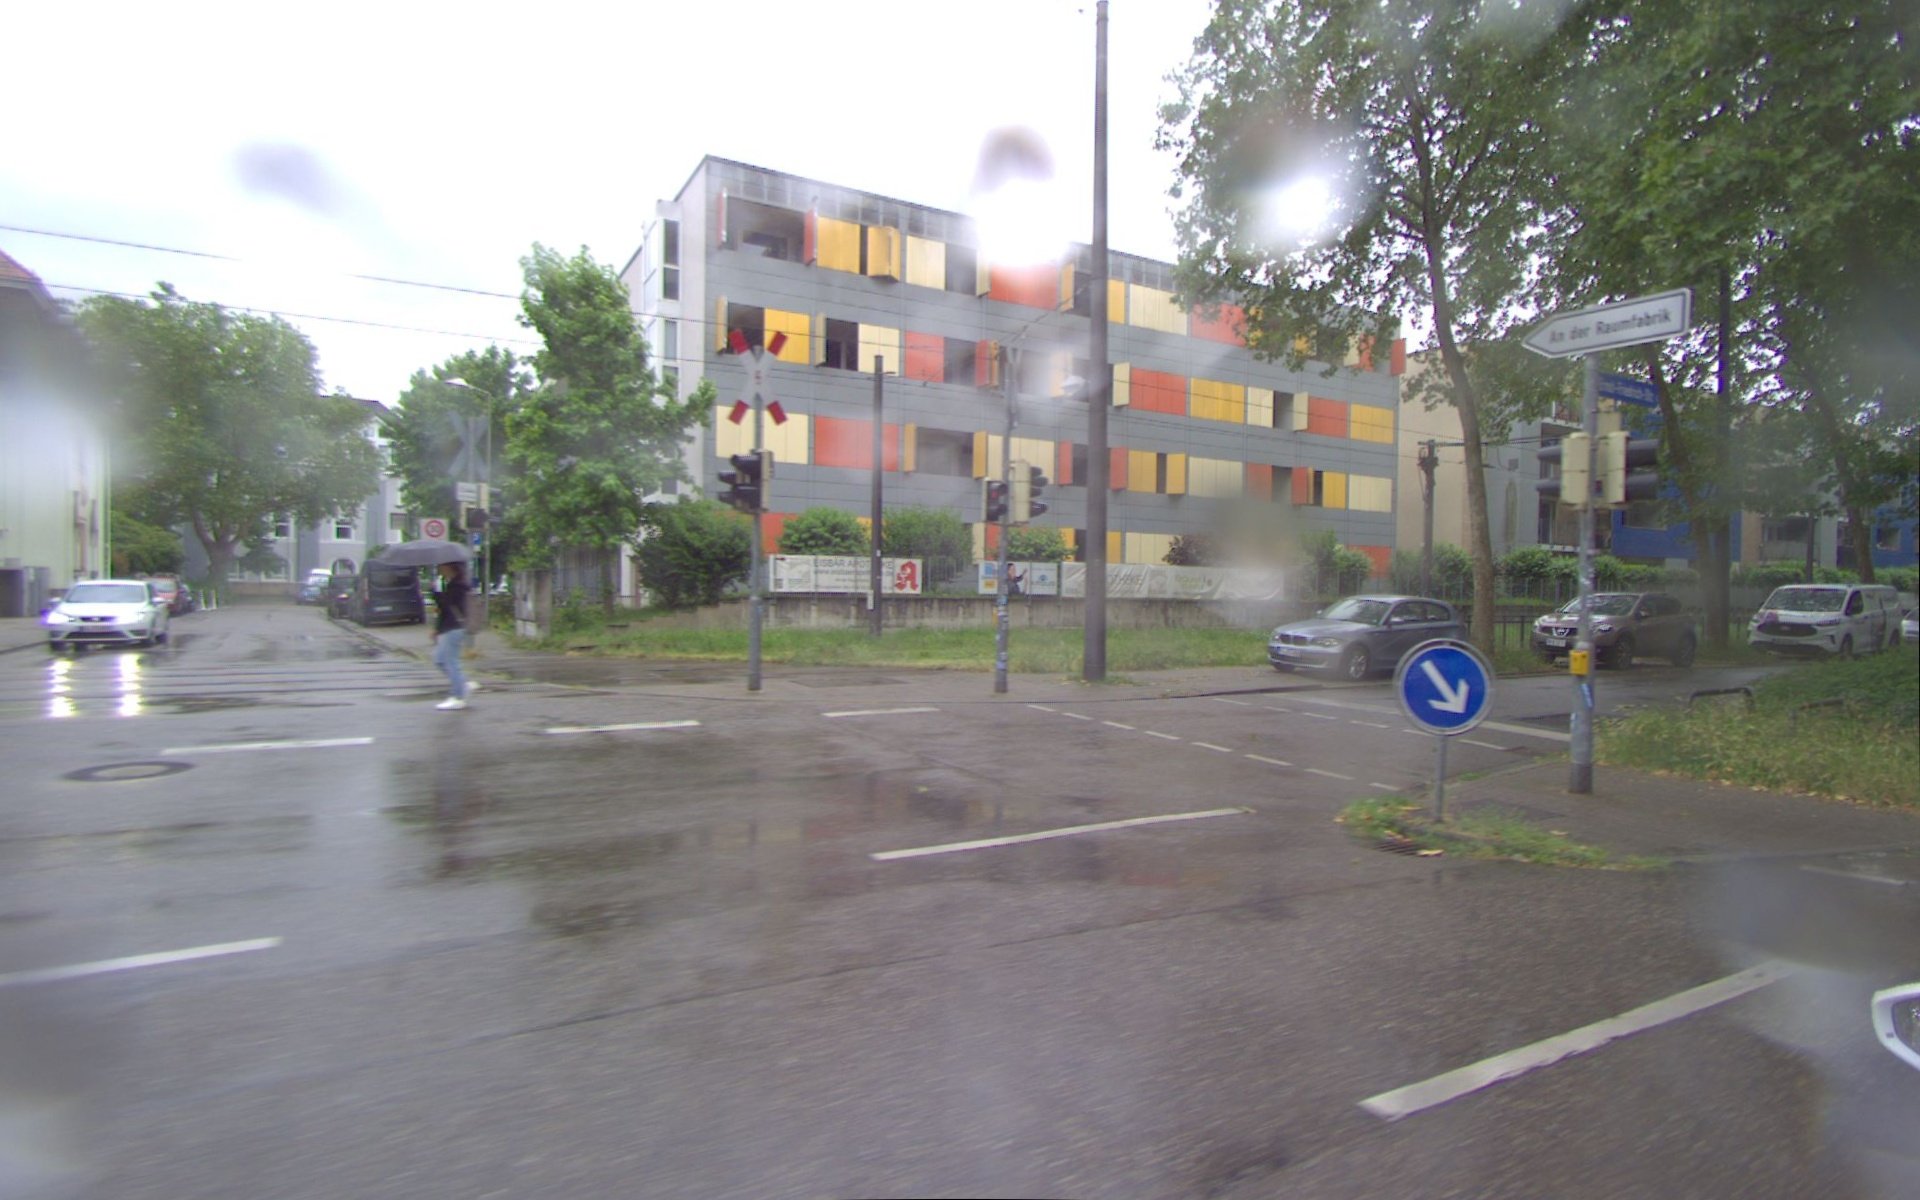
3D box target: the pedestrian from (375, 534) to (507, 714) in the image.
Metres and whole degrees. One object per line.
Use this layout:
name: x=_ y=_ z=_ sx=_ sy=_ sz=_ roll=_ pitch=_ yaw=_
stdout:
pedestrian: x=-5.613 y=0.249 z=10.857 sx=1.192 sy=1.824 sz=0.931 roll=1 pitch=0 yaw=-30

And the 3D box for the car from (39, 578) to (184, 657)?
car: x=-18.465 y=0.316 z=22.049 sx=1.868 sy=1.548 sz=4.054 roll=0 pitch=1 yaw=-32

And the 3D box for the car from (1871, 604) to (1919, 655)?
car: x=31.064 y=0.917 z=32.016 sx=4.168 sy=1.554 sz=1.894 roll=0 pitch=1 yaw=-32

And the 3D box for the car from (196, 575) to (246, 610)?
car: x=-40.580 y=-0.421 z=55.228 sx=1.872 sy=1.805 sz=3.964 roll=1 pitch=0 yaw=-32

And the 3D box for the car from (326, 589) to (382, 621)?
car: x=-26.867 y=0.205 z=44.631 sx=1.976 sy=1.329 sz=3.969 roll=0 pitch=0 yaw=-29

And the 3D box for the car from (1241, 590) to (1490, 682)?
car: x=7.402 y=0.597 z=18.284 sx=4.334 sy=1.483 sz=1.896 roll=0 pitch=1 yaw=-29

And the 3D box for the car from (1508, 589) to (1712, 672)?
car: x=14.071 y=0.605 z=21.711 sx=4.414 sy=1.622 sz=1.895 roll=0 pitch=1 yaw=-30

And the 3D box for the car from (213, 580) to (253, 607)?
car: x=-43.600 y=-0.390 z=60.310 sx=1.659 sy=1.558 sz=3.964 roll=1 pitch=0 yaw=-32

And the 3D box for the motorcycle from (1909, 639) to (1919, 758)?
motorcycle: x=10.109 y=1.040 z=9.373 sx=0.851 sy=1.225 sz=2.143 roll=2 pitch=1 yaw=15

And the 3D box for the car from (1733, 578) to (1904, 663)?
car: x=23.139 y=0.493 z=27.015 sx=5.377 sy=2.024 sz=2.041 roll=0 pitch=3 yaw=-34

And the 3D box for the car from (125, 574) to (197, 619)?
car: x=-33.193 y=-0.145 z=41.832 sx=1.979 sy=1.773 sz=3.963 roll=1 pitch=0 yaw=-33

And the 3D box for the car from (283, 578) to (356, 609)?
car: x=-43.785 y=-0.434 z=68.757 sx=3.946 sy=2.041 sz=1.987 roll=0 pitch=1 yaw=-26

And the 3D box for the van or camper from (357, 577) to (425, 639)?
van or camper: x=-20.391 y=0.254 z=35.966 sx=1.977 sy=2.041 sz=3.967 roll=1 pitch=1 yaw=-31
